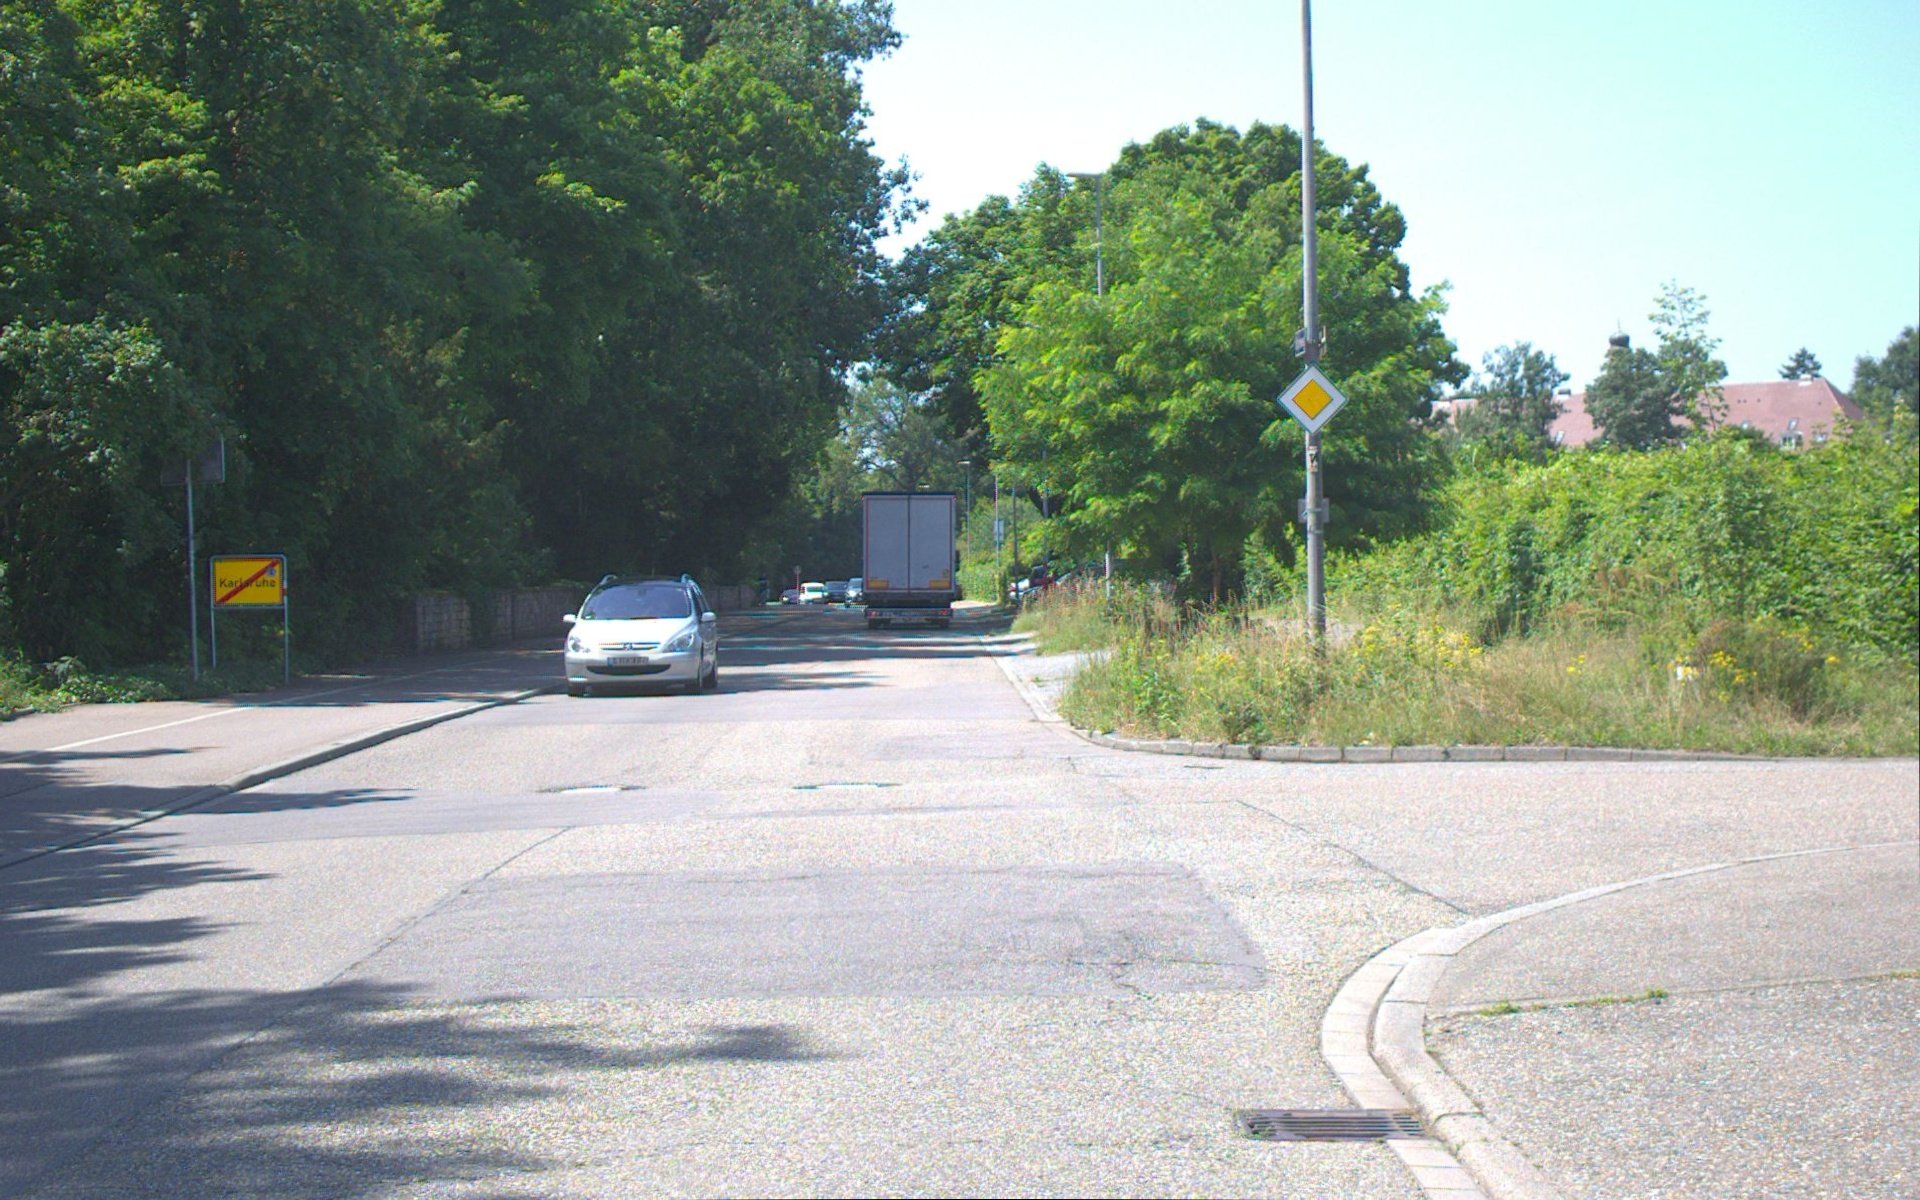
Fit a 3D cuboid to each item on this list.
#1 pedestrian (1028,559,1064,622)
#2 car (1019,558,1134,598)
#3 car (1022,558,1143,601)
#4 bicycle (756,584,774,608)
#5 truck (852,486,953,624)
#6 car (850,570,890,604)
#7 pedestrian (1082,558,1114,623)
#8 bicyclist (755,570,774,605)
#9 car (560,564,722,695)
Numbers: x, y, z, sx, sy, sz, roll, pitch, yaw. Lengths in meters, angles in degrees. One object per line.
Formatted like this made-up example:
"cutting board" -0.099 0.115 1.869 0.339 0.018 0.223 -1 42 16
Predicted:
"pedestrian" 2.312 -0.258 92.554 0.863 1.671 0.886 -2 1 -2
"car" 4.331 -0.824 127.990 4.196 1.440 1.739 -1 1 1
"car" 4.325 -0.726 121.605 4.196 1.440 1.739 -1 1 1
"bicycle" -9.614 -0.187 169.635 0.718 1.155 2.230 -2 1 0
"truck" -1.570 -1.299 99.664 2.733 3.733 13.246 0 1 0
"car" -4.784 -0.692 182.870 1.993 1.678 4.262 -2 1 0
"pedestrian" 3.764 -0.270 93.808 0.739 1.732 0.886 -2 1 -2
"bicyclist" -9.632 -0.604 169.656 0.832 1.710 0.957 -2 1 0
"car" -4.150 0.344 45.319 1.791 1.567 4.272 -1 1 -1
